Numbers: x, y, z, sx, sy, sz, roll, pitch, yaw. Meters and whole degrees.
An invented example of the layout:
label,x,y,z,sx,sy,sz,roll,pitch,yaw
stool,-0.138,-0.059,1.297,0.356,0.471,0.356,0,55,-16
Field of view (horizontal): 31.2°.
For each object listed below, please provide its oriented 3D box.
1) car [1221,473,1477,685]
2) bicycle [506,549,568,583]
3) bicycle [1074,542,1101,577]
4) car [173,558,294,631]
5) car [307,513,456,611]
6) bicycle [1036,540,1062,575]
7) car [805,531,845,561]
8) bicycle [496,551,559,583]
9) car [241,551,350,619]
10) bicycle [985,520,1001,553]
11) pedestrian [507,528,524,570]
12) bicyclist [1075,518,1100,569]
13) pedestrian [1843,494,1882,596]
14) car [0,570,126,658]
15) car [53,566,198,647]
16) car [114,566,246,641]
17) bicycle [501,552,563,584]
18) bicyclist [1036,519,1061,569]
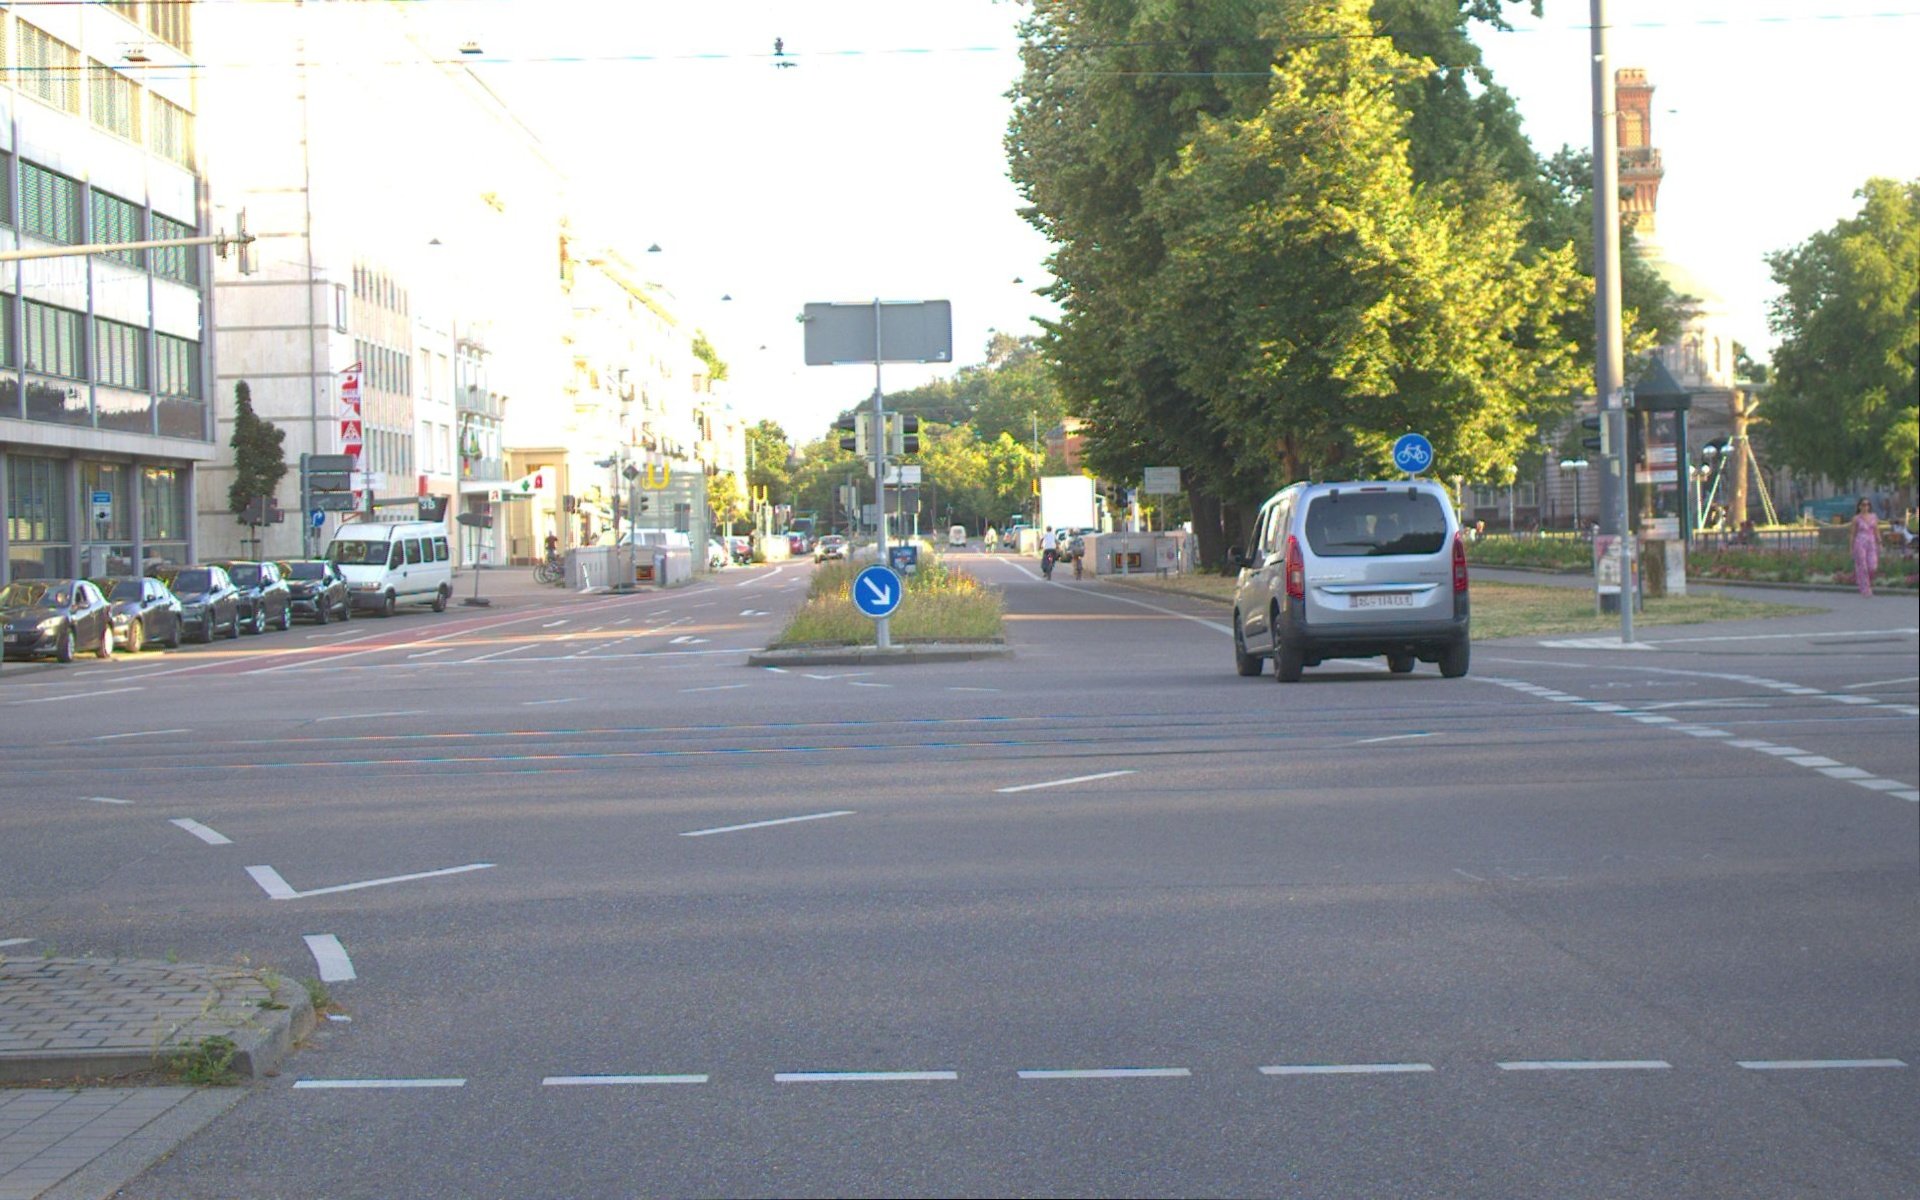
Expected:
label,x,y,z,sx,sy,sz,roll,pitch,yaw
car,3.714,-0.235,33.506,1.763,1.882,4.500,-2,1,-2
bicycle,-15.864,-1.279,128.890,2.205,1.232,0.839,-2,1,-2
bicycle,4.275,-1.370,115.109,0.746,1.140,2.505,-2,1,-1
car,-16.558,-0.146,78.557,1.920,1.563,4.000,-2,1,-1
car,-15.301,-1.050,91.234,2.002,2.469,5.865,-1,1,10
bicycle,2.965,-1.431,115.018,0.746,1.140,2.505,-2,1,-1
car,-7.139,-2.872,181.746,1.863,1.514,4.000,-2,1,1
bicycle,-15.788,-1.216,125.451,2.205,1.108,0.619,-2,1,-2
car,-16.360,-0.380,84.784,1.920,1.563,4.000,-2,1,-1
bicycle,2.030,-3.892,211.255,0.895,2.007,4.000,-1,1,-1
pedestrian,-21.305,-2.438,164.830,0.680,2.007,0.545,-2,1,0
bicyclist,4.259,-1.887,115.050,0.746,1.685,0.799,-2,1,-1
pedestrian,14.793,-0.898,56.356,0.460,1.651,0.567,-1,1,-1
car,-16.488,0.235,61.980,1.920,1.459,4.103,-2,1,-1
car,-16.576,0.105,68.441,1.920,1.459,4.000,-2,1,-1
car,-16.580,0.057,73.256,1.920,1.459,4.000,-2,1,-1
bicycle,-15.829,-1.184,127.106,2.205,1.108,0.689,-2,1,-2
bicyclist,2.960,-1.867,114.785,0.746,1.658,0.873,-2,1,-1
